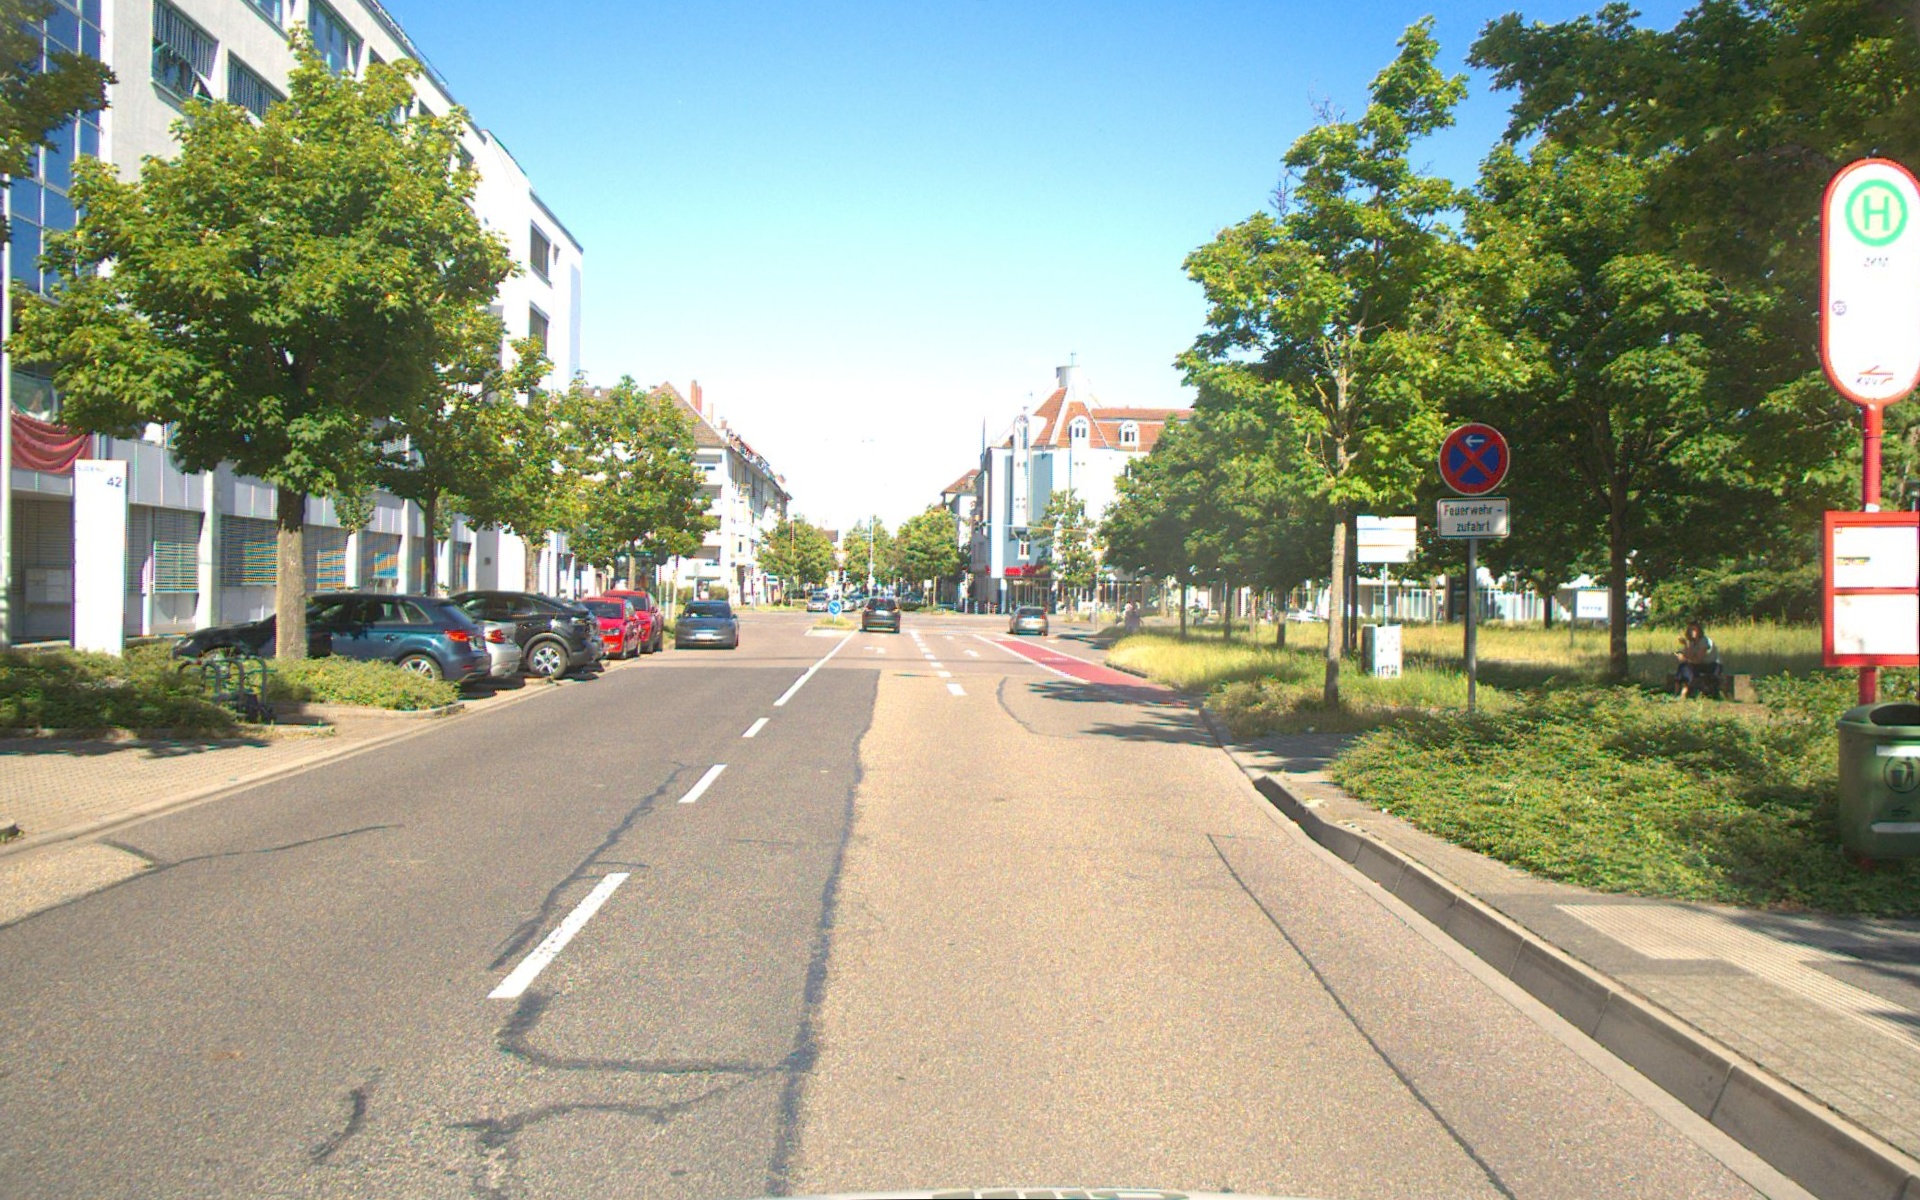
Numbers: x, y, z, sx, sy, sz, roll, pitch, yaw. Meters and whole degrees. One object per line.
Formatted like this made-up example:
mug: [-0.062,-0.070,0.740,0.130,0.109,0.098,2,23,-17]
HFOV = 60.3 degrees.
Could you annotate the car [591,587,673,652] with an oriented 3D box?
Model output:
car: [-9.054,0.515,45.920,1.655,1.635,4.306,3,0,-5]

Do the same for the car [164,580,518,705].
car: [-8.632,0.585,23.367,4.301,1.457,1.691,3,0,-6]

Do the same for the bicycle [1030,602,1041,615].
bicycle: [5.953,0.657,130.489,0.463,1.045,1.510,1,0,-15]

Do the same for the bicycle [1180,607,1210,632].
bicycle: [13.357,1.084,93.991,0.776,1.371,2.255,0,0,34]

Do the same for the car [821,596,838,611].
car: [-15.019,0.369,190.662,1.718,1.583,3.729,3,0,-2]

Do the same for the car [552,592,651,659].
car: [-8.731,0.604,40.544,1.654,1.457,3.869,3,0,-3]

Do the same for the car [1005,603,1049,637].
car: [3.420,1.026,85.229,1.655,1.605,3.867,3,0,-6]

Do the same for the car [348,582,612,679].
car: [-8.679,0.546,30.220,4.301,1.457,1.691,3,0,-6]

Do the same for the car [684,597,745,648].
car: [-7.638,0.672,51.679,1.655,1.494,4.542,0,0,-6]

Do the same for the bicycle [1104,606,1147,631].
bicycle: [9.181,1.025,91.729,2.214,1.371,0.791,1,0,32]

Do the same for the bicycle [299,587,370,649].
bicycle: [-14.376,0.403,38.074,0.694,1.371,2.233,0,0,3]

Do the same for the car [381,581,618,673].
car: [-9.171,0.531,33.246,4.303,1.565,1.691,3,0,-8]

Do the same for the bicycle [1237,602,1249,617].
bicycle: [23.691,0.791,138.566,0.549,1.203,1.868,1,0,-4]

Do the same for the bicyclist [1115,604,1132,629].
bicyclist: [9.081,0.916,91.804,0.689,1.371,0.791,0,0,32]

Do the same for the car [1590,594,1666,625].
car: [39.706,0.575,98.318,3.779,1.605,1.694,3,0,2]

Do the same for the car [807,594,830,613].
car: [-12.537,0.342,146.721,1.718,1.583,3.729,3,0,-2]

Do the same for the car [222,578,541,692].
car: [-8.919,0.528,25.751,4.298,1.457,1.692,3,0,-3]

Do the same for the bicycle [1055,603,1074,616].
bicycle: [8.383,0.750,132.363,1.479,1.045,0.473,1,0,7]

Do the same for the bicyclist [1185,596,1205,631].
bicyclist: [13.376,0.772,94.026,0.777,1.993,1.008,0,0,35]

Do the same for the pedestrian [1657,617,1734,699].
pedestrian: [11.501,0.893,25.861,0.830,1.238,0.726,0,0,-15]

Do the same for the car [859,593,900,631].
car: [-3.814,0.540,78.090,1.720,1.656,4.474,3,0,-5]
